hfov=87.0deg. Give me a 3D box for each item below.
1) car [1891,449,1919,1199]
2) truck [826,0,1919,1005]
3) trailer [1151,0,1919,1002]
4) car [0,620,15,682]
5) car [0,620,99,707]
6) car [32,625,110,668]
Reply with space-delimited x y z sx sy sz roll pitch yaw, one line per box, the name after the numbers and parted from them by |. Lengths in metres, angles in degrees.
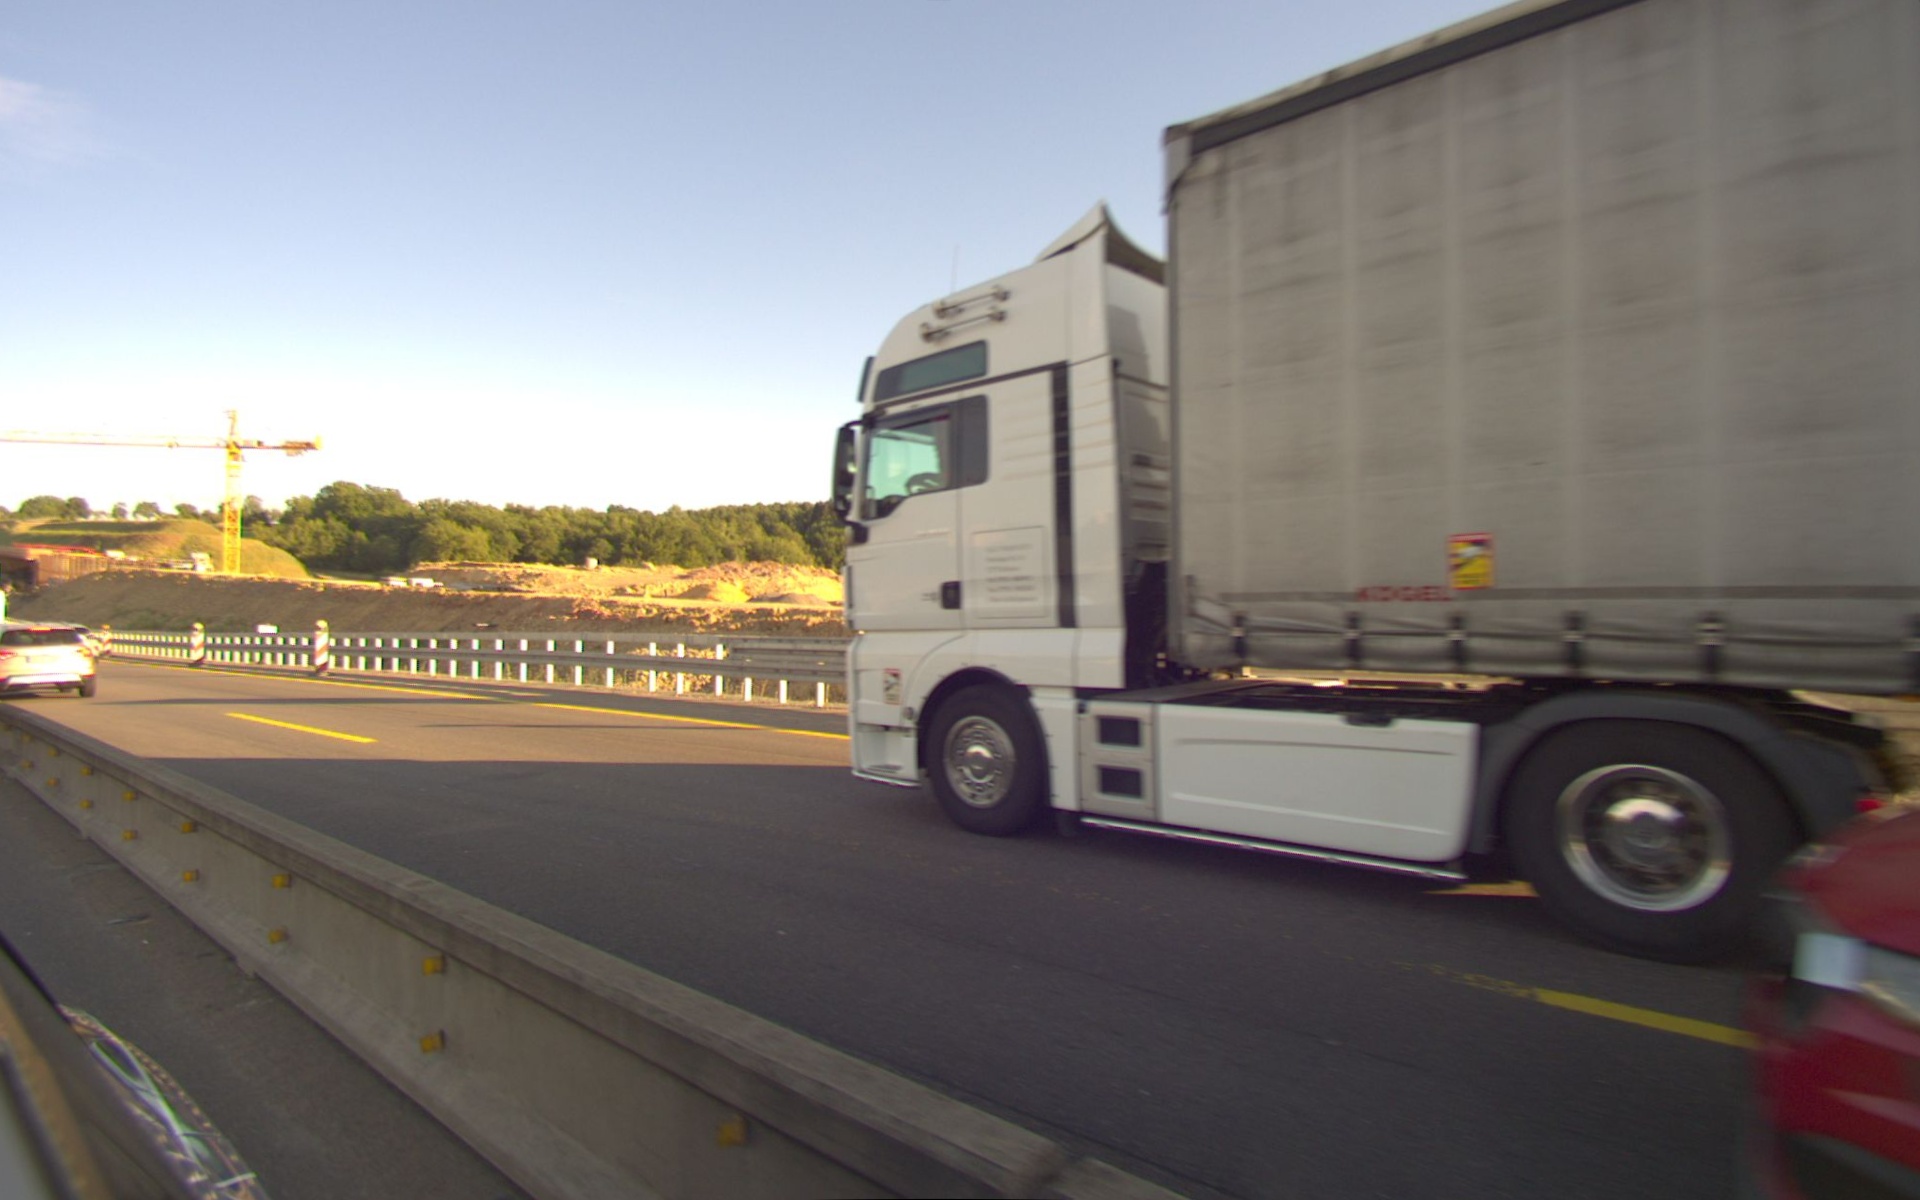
3.652 0.523 0.512 4.604 1.631 1.972 -1 -1 42 | car
2.061 -0.639 6.374 5.671 4.079 2.784 -1 -1 42 | truck
7.148 -0.720 1.756 14.017 4.081 2.784 -1 -1 42 | trailer
-27.307 1.365 27.641 4.703 1.596 1.725 -1 -1 41 | car
-18.922 1.205 20.370 3.996 1.546 1.749 0 0 40 | car
-34.737 1.781 39.501 4.290 1.580 1.674 -1 -1 40 | car
